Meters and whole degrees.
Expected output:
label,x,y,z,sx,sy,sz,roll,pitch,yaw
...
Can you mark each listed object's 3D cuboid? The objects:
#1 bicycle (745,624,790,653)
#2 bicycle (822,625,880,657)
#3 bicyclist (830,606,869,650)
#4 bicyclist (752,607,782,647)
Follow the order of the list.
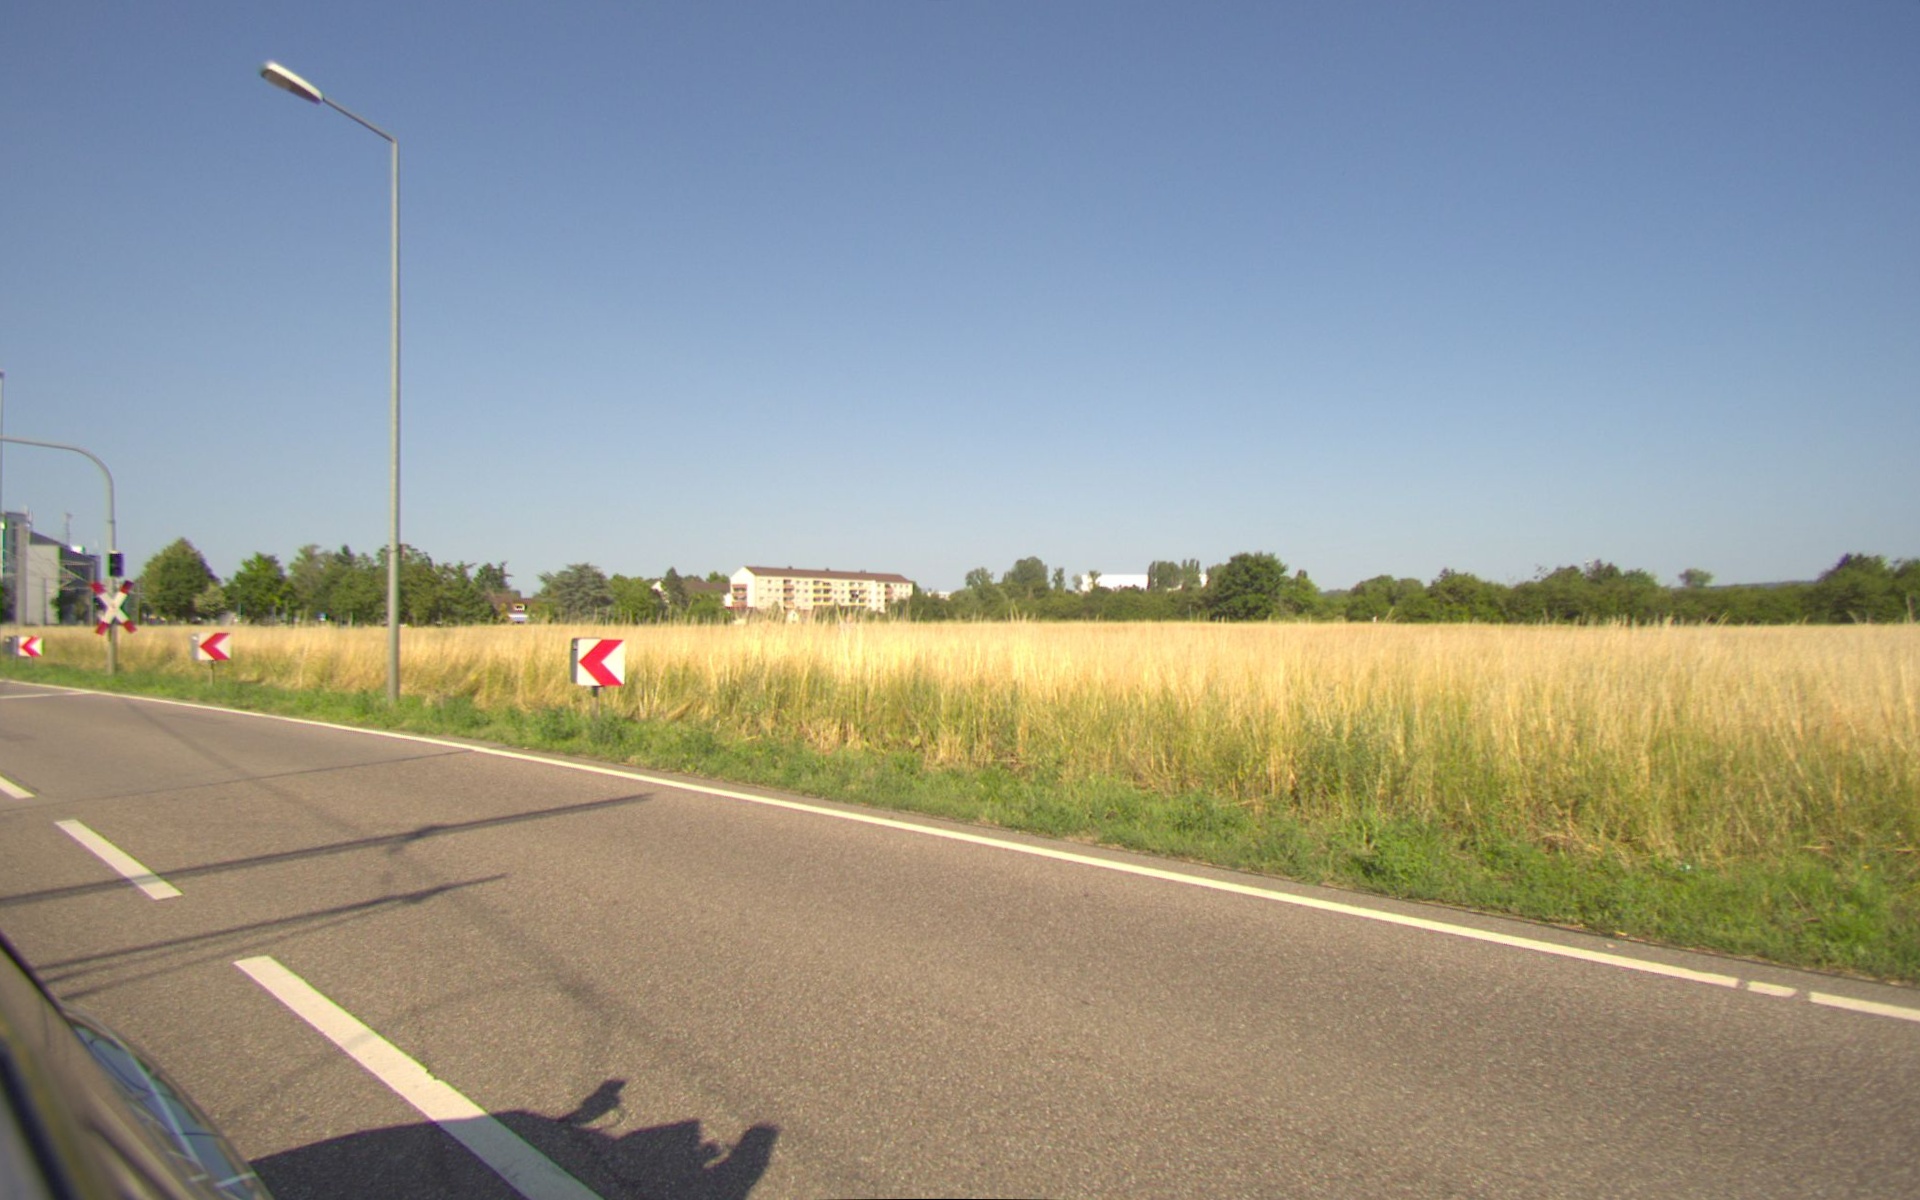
label,x,y,z,sx,sy,sz,roll,pitch,yaw
bicycle,-6.014,1.181,31.553,0.605,0.845,1.739,-1,-1,-40
bicycle,-3.031,1.122,28.040,0.740,0.845,1.739,-1,-1,-40
bicyclist,-3.071,0.772,28.083,0.736,1.214,0.791,0,-1,-41
bicyclist,-6.028,0.843,31.568,0.595,1.214,0.791,0,-1,-40
